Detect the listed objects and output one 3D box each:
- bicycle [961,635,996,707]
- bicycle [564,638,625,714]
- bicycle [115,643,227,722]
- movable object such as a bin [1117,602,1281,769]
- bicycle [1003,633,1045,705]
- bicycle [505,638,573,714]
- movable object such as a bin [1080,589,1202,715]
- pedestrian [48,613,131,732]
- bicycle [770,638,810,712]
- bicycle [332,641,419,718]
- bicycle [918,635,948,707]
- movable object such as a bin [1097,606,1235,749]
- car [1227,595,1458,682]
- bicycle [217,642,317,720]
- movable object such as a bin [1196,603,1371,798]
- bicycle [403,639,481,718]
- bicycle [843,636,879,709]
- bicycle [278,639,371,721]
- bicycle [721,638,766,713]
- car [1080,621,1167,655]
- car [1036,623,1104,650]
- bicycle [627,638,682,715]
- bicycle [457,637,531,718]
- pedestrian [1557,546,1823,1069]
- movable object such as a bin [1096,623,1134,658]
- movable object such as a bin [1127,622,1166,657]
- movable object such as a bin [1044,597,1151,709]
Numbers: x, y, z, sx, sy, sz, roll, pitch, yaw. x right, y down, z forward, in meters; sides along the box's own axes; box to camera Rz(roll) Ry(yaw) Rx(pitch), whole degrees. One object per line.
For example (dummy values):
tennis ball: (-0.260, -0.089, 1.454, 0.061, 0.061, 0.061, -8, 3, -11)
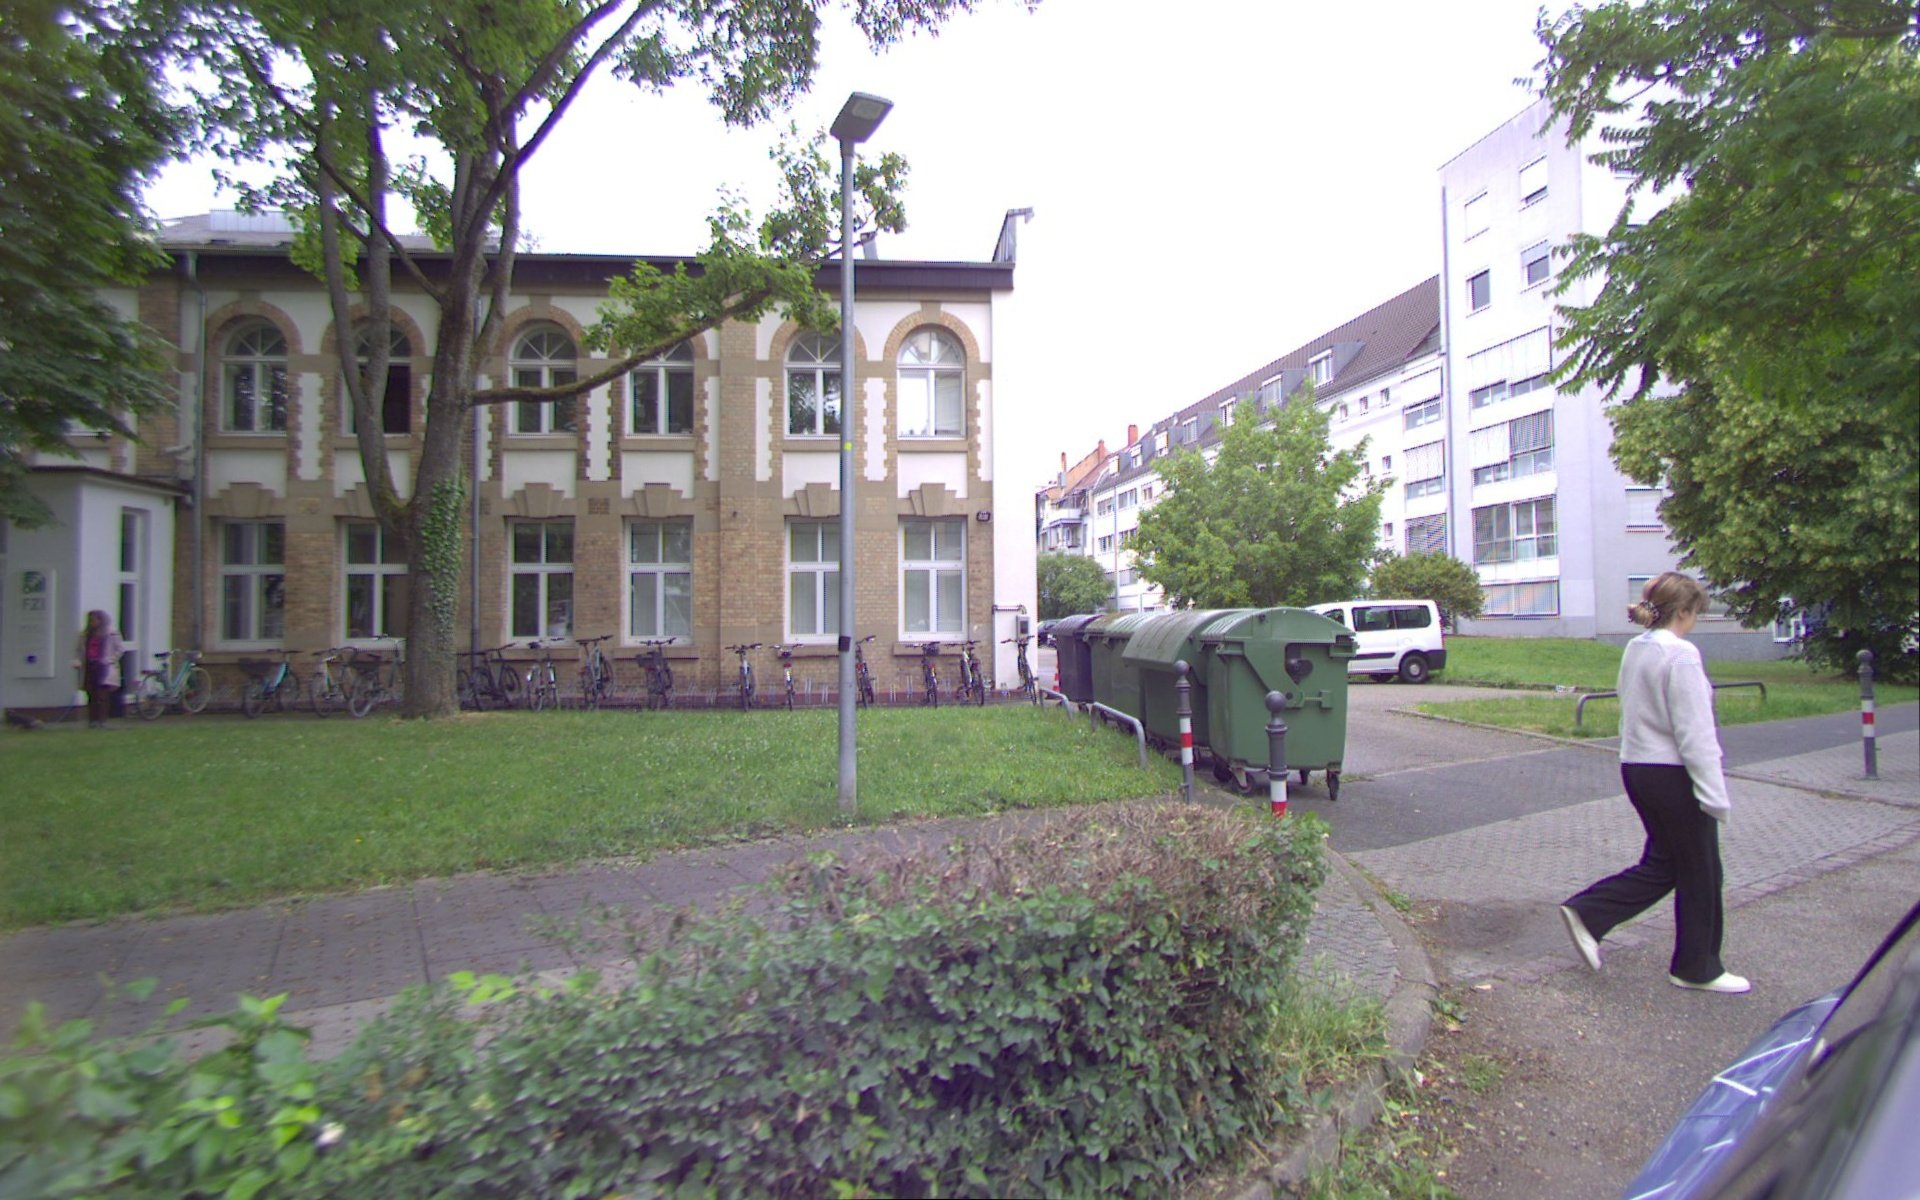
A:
bicycle: (0.296, 1.165, 17.129, 0.452, 1.129, 1.745, 0, -2, -3)
bicycle: (-5.931, 1.206, 16.486, 0.452, 1.129, 1.745, 0, -2, -3)
bicycle: (-12.330, 1.256, 15.871, 0.452, 1.129, 1.745, 0, -2, -3)
movable object such as a bin: (2.242, 0.773, 9.702, 1.086, 1.469, 1.288, -1, -2, -9)
bicycle: (1.068, 1.140, 17.192, 0.451, 1.129, 1.746, 0, -2, -5)
bicycle: (-6.771, 1.194, 16.338, 0.452, 1.129, 1.745, 0, -2, -3)
movable object such as a bin: (2.227, 0.632, 12.648, 1.086, 1.469, 1.328, -1, -2, -9)
pedestrian: (-12.025, 0.986, 13.997, 0.615, 1.607, 0.604, 0, -2, -5)
bicycle: (-2.794, 1.216, 16.774, 0.452, 1.129, 1.745, 0, -2, -3)
bicycle: (-9.292, 1.234, 16.152, 0.452, 1.129, 1.745, 0, -2, -3)
bicycle: (-0.471, 1.169, 17.069, 0.452, 1.129, 1.745, 0, -2, -3)
movable object such as a bin: (2.247, 0.818, 11.237, 1.086, 1.469, 1.296, -1, -2, -9)
car: (8.990, 0.931, 24.060, 4.680, 1.898, 1.901, -1, -4, -3)
bicycle: (-10.978, 1.257, 16.096, 0.452, 1.129, 1.745, 0, -2, -3)
movable object such as a bin: (2.562, 0.763, 8.217, 1.053, 1.453, 1.273, -1, -1, 5)
bicycle: (-8.322, 1.231, 16.327, 0.452, 1.129, 1.745, 0, 0, -3)
bicycle: (-1.638, 1.187, 16.910, 0.452, 1.129, 1.744, -1, -2, -1)
bicycle: (-10.081, 1.238, 16.112, 0.452, 1.128, 1.746, 0, 1, -3)
bicycle: (-3.540, 1.210, 16.643, 0.452, 1.129, 1.745, 0, -2, -3)
car: (8.903, 2.067, 55.257, 4.251, 1.757, 2.003, 0, -2, -10)
car: (7.600, 2.519, 70.086, 4.251, 1.757, 2.003, 0, -2, -10)
bicycle: (-4.920, 1.205, 16.365, 0.452, 1.129, 1.745, 0, -1, -3)
bicycle: (-7.492, 1.220, 16.342, 0.452, 1.128, 1.746, 0, 1, -3)
pedestrian: (2.842, 0.723, 3.998, 0.746, 1.804, 0.654, -2, -2, 35)
movable object such as a bin: (6.042, 1.565, 39.515, 1.157, 1.324, 1.229, -1, -3, -6)
movable object such as a bin: (7.286, 1.546, 39.609, 1.157, 1.324, 1.229, -1, -3, -6)
movable object such as a bin: (1.898, 0.722, 14.199, 1.086, 1.469, 1.364, -1, -2, -10)
